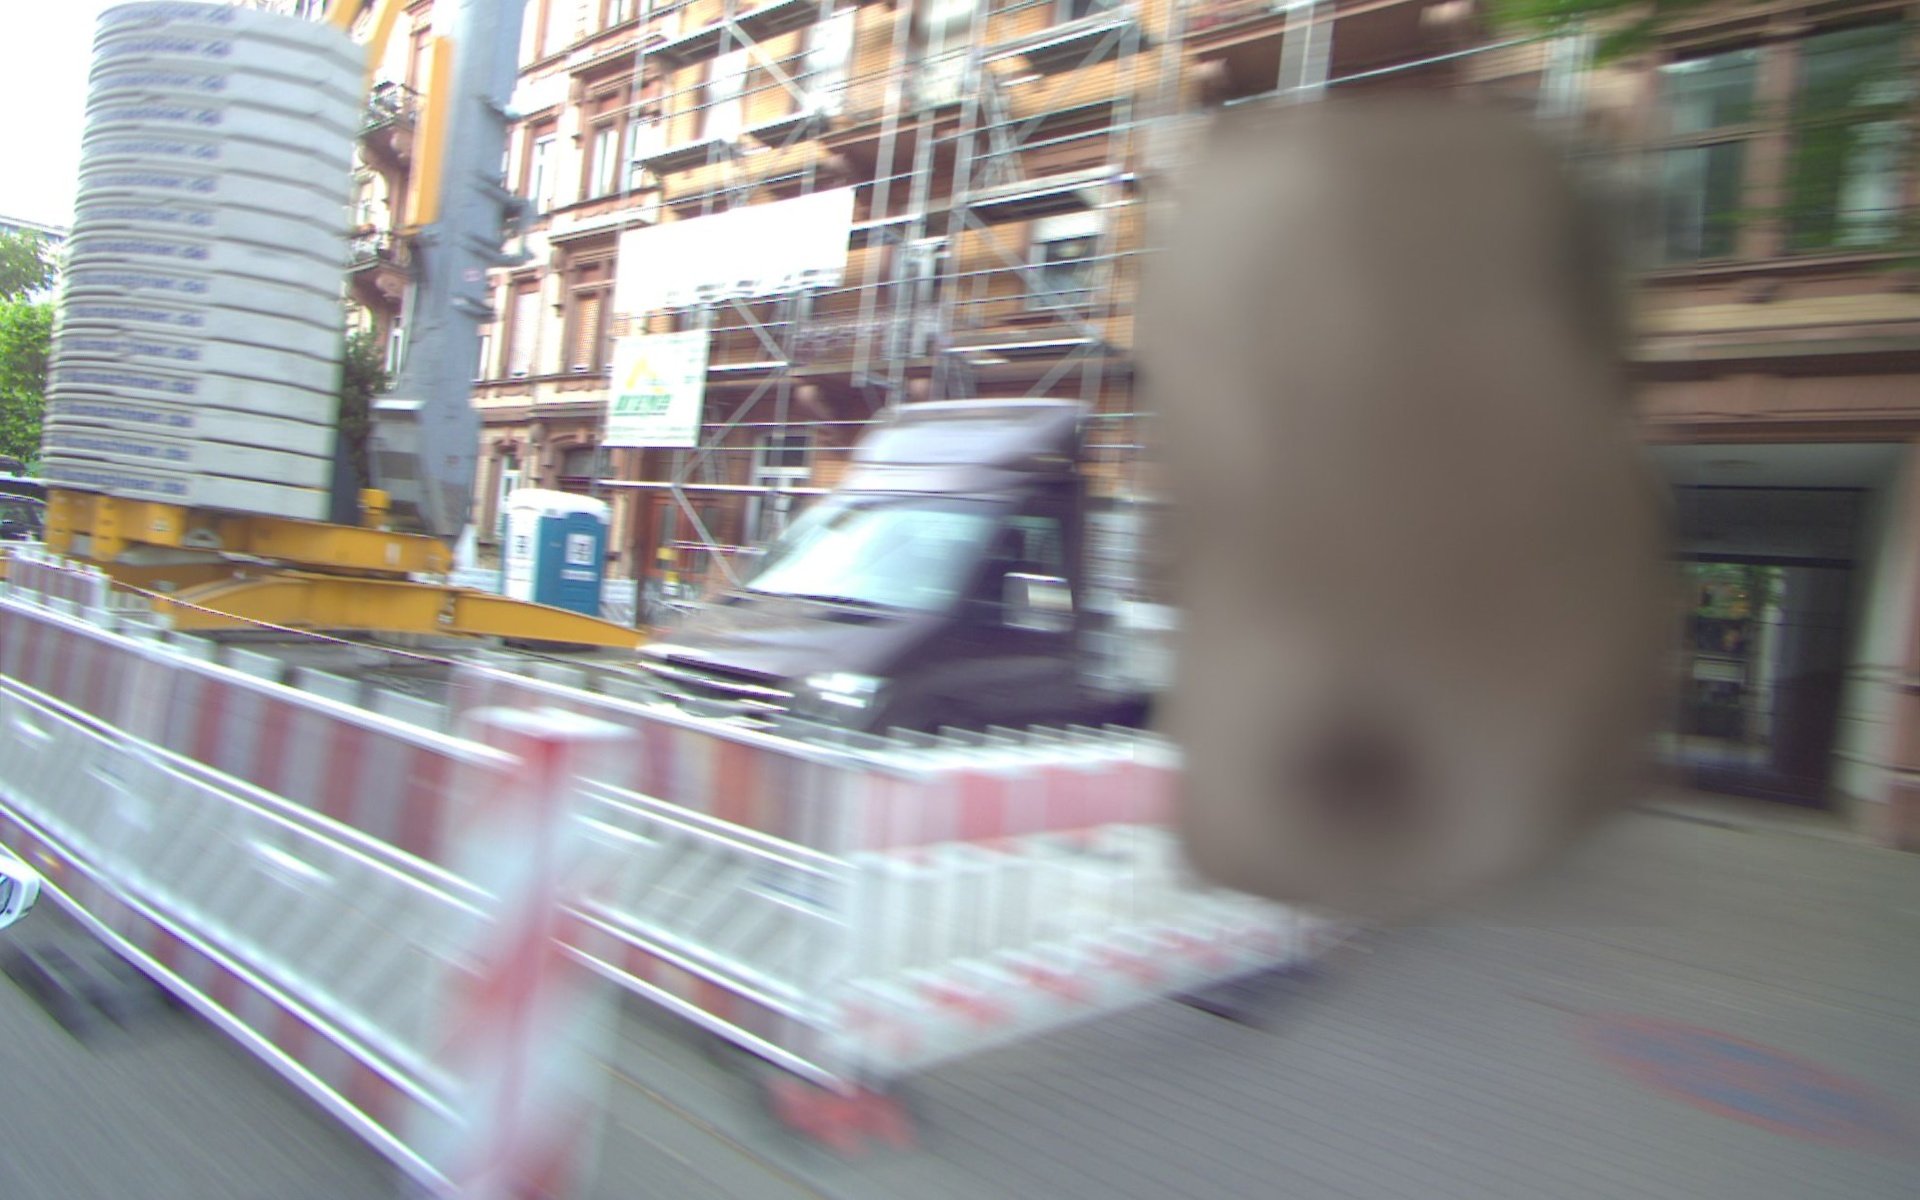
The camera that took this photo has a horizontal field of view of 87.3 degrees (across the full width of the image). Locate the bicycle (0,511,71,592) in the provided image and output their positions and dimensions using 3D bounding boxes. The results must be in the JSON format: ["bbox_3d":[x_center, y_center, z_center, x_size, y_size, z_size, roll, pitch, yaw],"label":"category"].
[{"bbox_3d":[-15.091,-0.802,15.830,1.780,1.151,0.496,7,2,5],"label":"bicycle"}]

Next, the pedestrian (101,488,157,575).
[{"bbox_3d":[-20.723,-1.698,25.090,0.643,2.037,0.626,7,-1,12],"label":"pedestrian"}]

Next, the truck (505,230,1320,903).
[{"bbox_3d":[0.338,0.115,7.934,2.488,3.111,6.480,6,-3,39],"label":"truck"}]

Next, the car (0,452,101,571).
[{"bbox_3d":[-21.378,-2.043,21.009,1.962,2.392,4.941,7,0,10],"label":"car"}]

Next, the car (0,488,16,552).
[{"bbox_3d":[-25.785,-2.141,24.247,1.850,1.611,4.164,7,2,5],"label":"car"}]

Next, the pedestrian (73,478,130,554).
[{"bbox_3d":[-20.690,-2.014,24.256,0.643,1.700,0.626,7,-1,9],"label":"pedestrian"}]

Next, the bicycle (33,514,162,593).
[{"bbox_3d":[-15.062,-0.798,17.586,1.780,1.151,0.496,7,2,2],"label":"bicycle"}]

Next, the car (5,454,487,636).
[{"bbox_3d":[-9.731,-0.632,14.226,1.869,1.981,5.170,8,2,35],"label":"car"}]

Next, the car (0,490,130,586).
[{"bbox_3d":[-17.203,-1.193,17.547,1.812,1.535,3.869,7,0,10],"label":"car"}]

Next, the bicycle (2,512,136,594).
[{"bbox_3d":[-15.072,-0.789,17.040,1.780,1.151,0.496,7,2,2],"label":"bicycle"}]

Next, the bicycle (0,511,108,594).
[{"bbox_3d":[-15.073,-0.782,16.463,1.780,1.151,0.496,7,2,2],"label":"bicycle"}]
